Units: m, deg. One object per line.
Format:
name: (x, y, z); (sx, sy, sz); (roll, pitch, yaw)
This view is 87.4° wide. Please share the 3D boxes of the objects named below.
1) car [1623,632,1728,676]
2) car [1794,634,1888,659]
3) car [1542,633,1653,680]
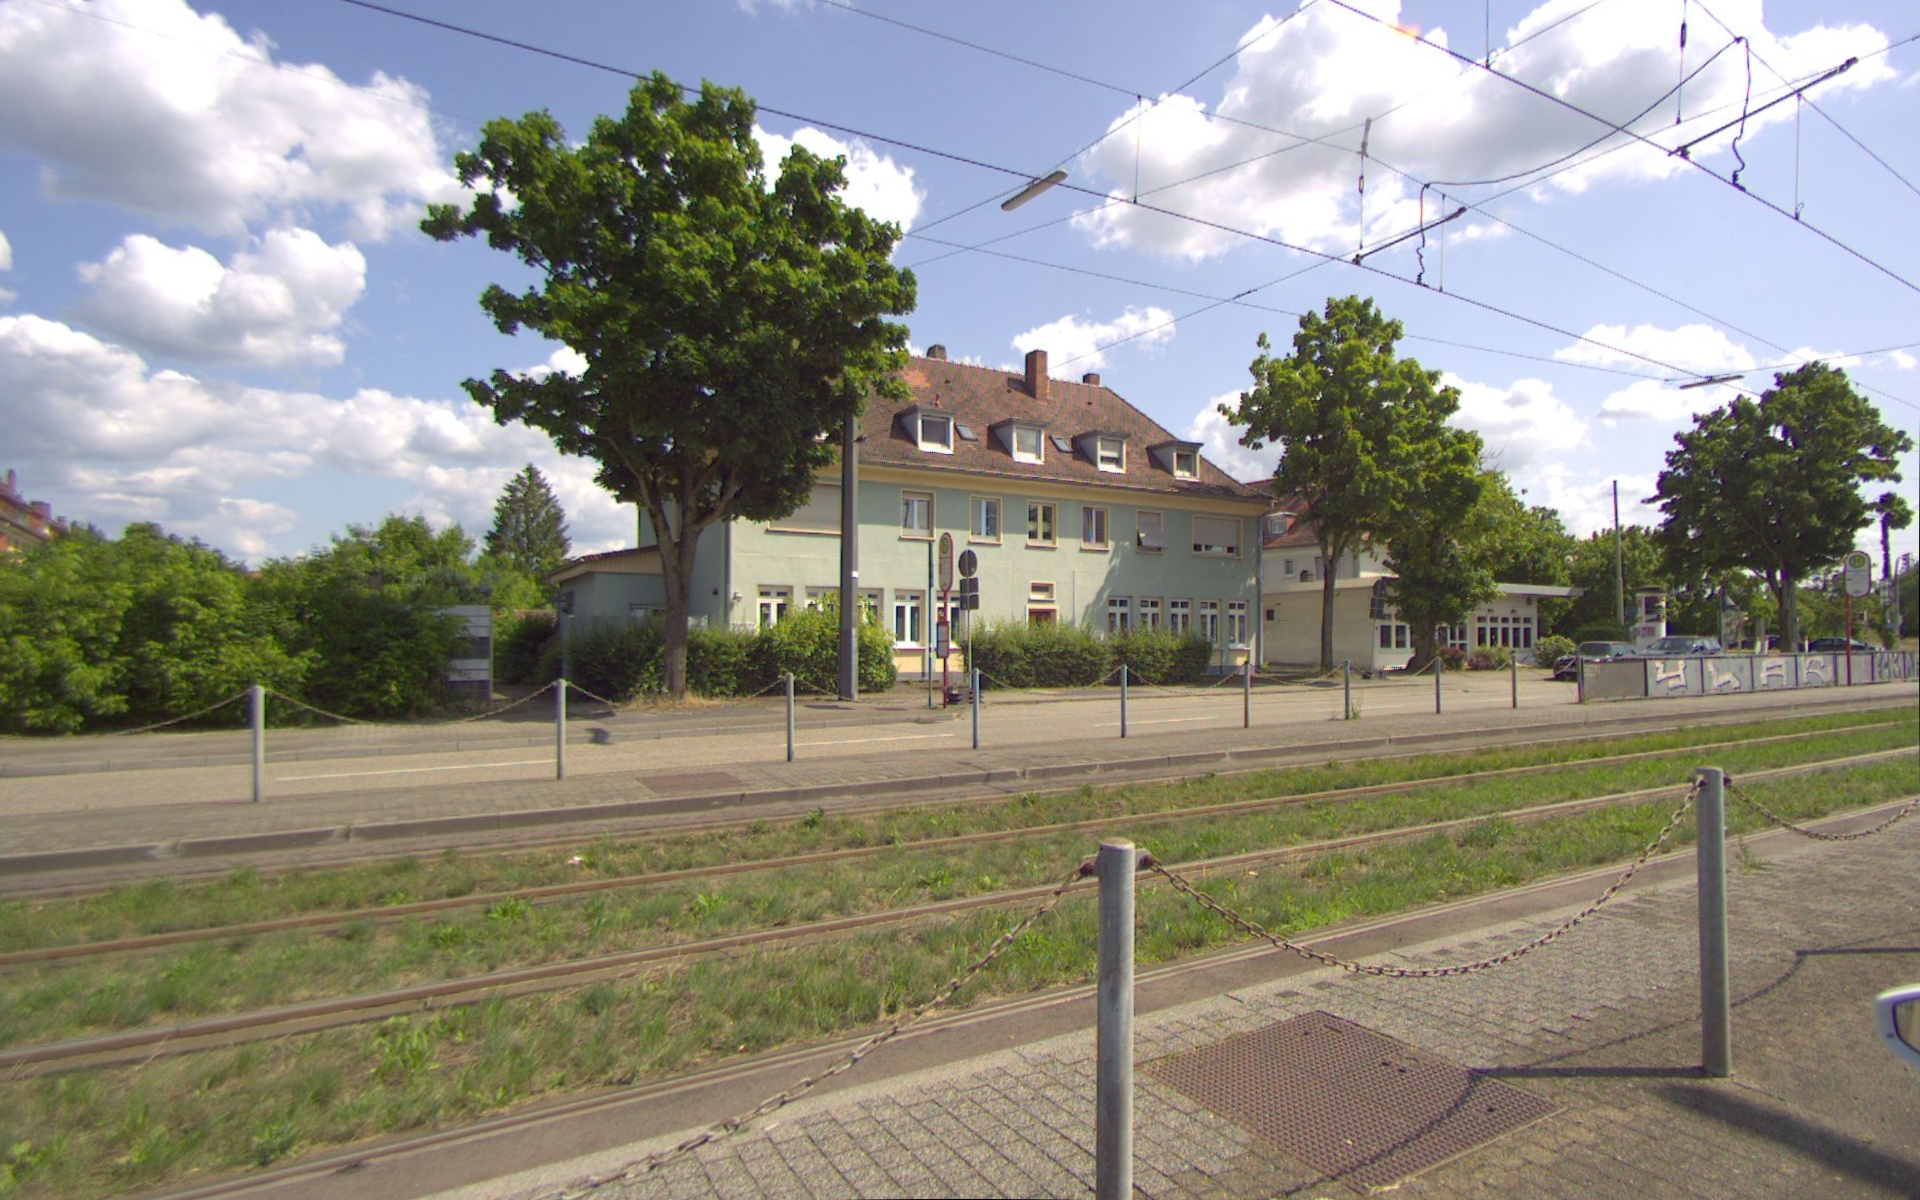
car: (28.310, 2.101, 39.689); (4.709, 1.635, 2.046); (1, -2, -37)
car: (60.602, 3.181, 69.161); (1.975, 1.534, 4.443); (1, -1, -27)
car: (23.103, 2.008, 36.386); (3.883, 1.605, 1.779); (1, -2, -29)
